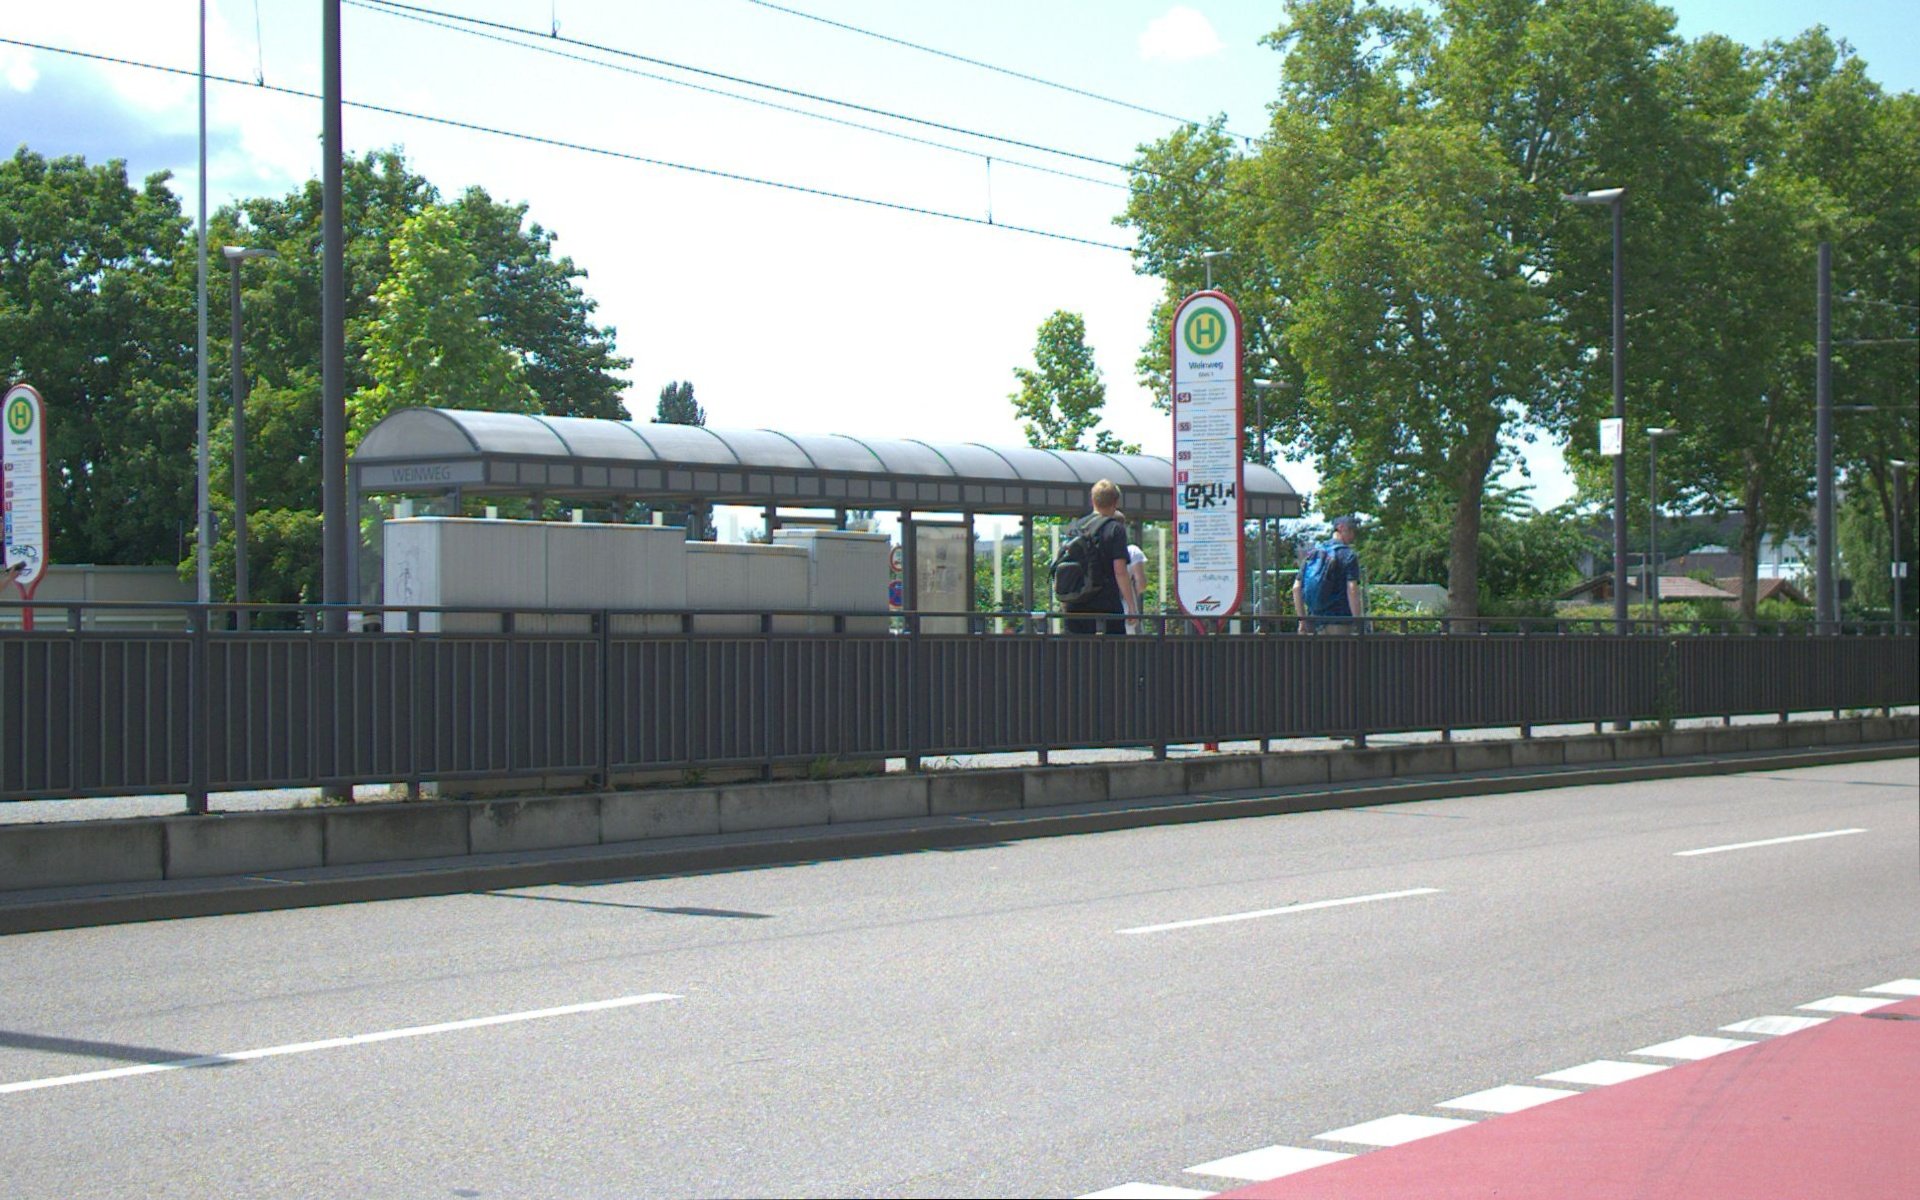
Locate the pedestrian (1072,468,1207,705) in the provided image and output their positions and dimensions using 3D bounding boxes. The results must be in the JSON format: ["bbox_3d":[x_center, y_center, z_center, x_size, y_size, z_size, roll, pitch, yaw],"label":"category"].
[{"bbox_3d":[1.433,-0.117,27.524,0.873,1.865,0.677,0,1,-23],"label":"pedestrian"}]

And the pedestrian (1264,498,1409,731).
[{"bbox_3d":[2.901,0.105,26.458,0.735,1.750,0.928,1,0,35],"label":"pedestrian"}]

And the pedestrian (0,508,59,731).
[{"bbox_3d":[-7.985,0.156,28.113,0.735,1.801,0.928,1,0,35],"label":"pedestrian"}]

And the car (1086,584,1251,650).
[{"bbox_3d":[5.459,0.424,90.304,3.923,1.656,1.906,1,1,36],"label":"car"}]

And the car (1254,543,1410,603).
[{"bbox_3d":[10.444,-0.777,96.631,3.923,1.656,1.906,1,1,36],"label":"car"}]

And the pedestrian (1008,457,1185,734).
[{"bbox_3d":[0.980,-0.042,24.605,0.875,1.932,0.992,1,1,35],"label":"pedestrian"}]
